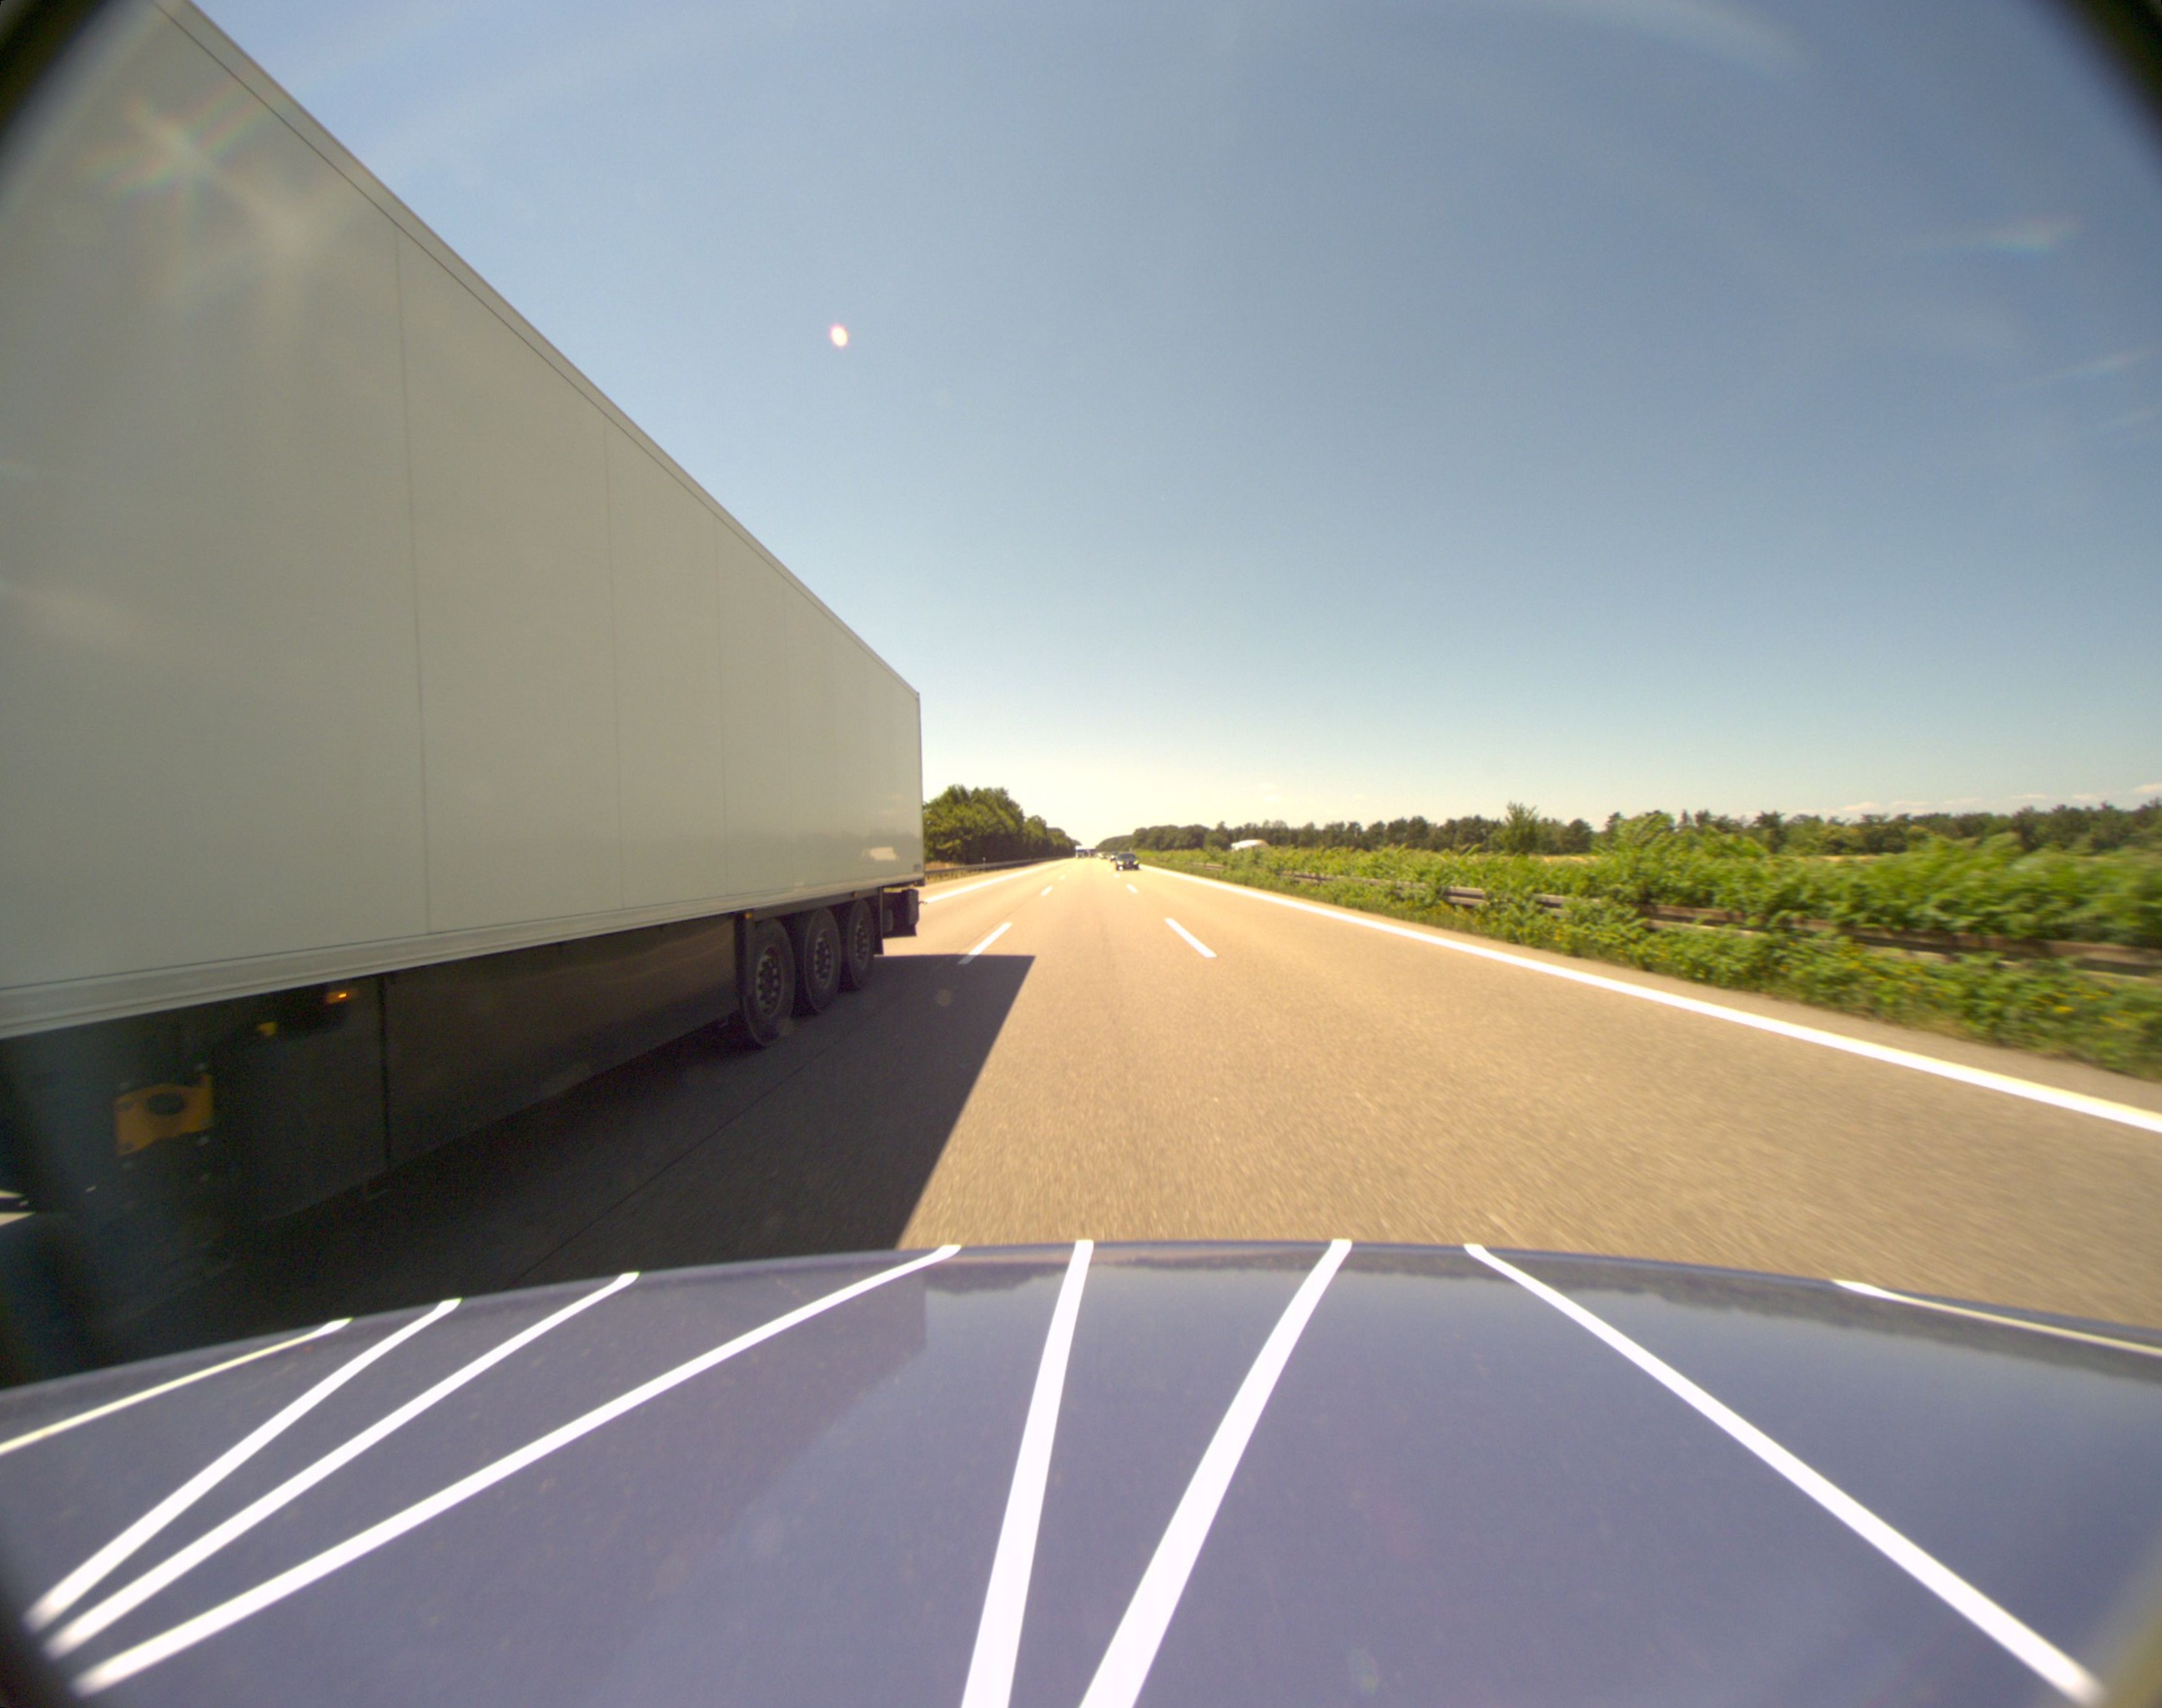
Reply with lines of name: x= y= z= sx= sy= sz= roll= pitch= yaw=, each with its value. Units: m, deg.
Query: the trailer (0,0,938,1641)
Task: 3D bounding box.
trailer: x=-3.671 y=-0.267 z=5.137 sx=2.476 sy=4.039 sz=13.878 roll=-2 pitch=1 yaw=1

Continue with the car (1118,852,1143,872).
car: x=4.060 y=0.646 z=63.180 sx=1.811 sy=1.460 sz=3.999 roll=-2 pitch=1 yaw=1

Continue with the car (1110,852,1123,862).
car: x=5.660 y=0.492 z=121.116 sx=1.811 sy=1.417 sz=3.999 roll=-2 pitch=1 yaw=1

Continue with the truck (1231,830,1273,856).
truck: x=22.320 y=-1.424 z=100.051 sx=2.575 sy=3.106 sz=13.119 roll=-2 pitch=1 yaw=1

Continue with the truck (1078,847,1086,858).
truck: x=0.441 y=-0.538 z=255.730 sx=2.575 sy=3.499 sz=8.335 roll=-2 pitch=1 yaw=1

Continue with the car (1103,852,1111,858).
car: x=5.982 y=0.225 z=175.963 sx=1.811 sy=1.417 sz=3.999 roll=-2 pitch=1 yaw=1
